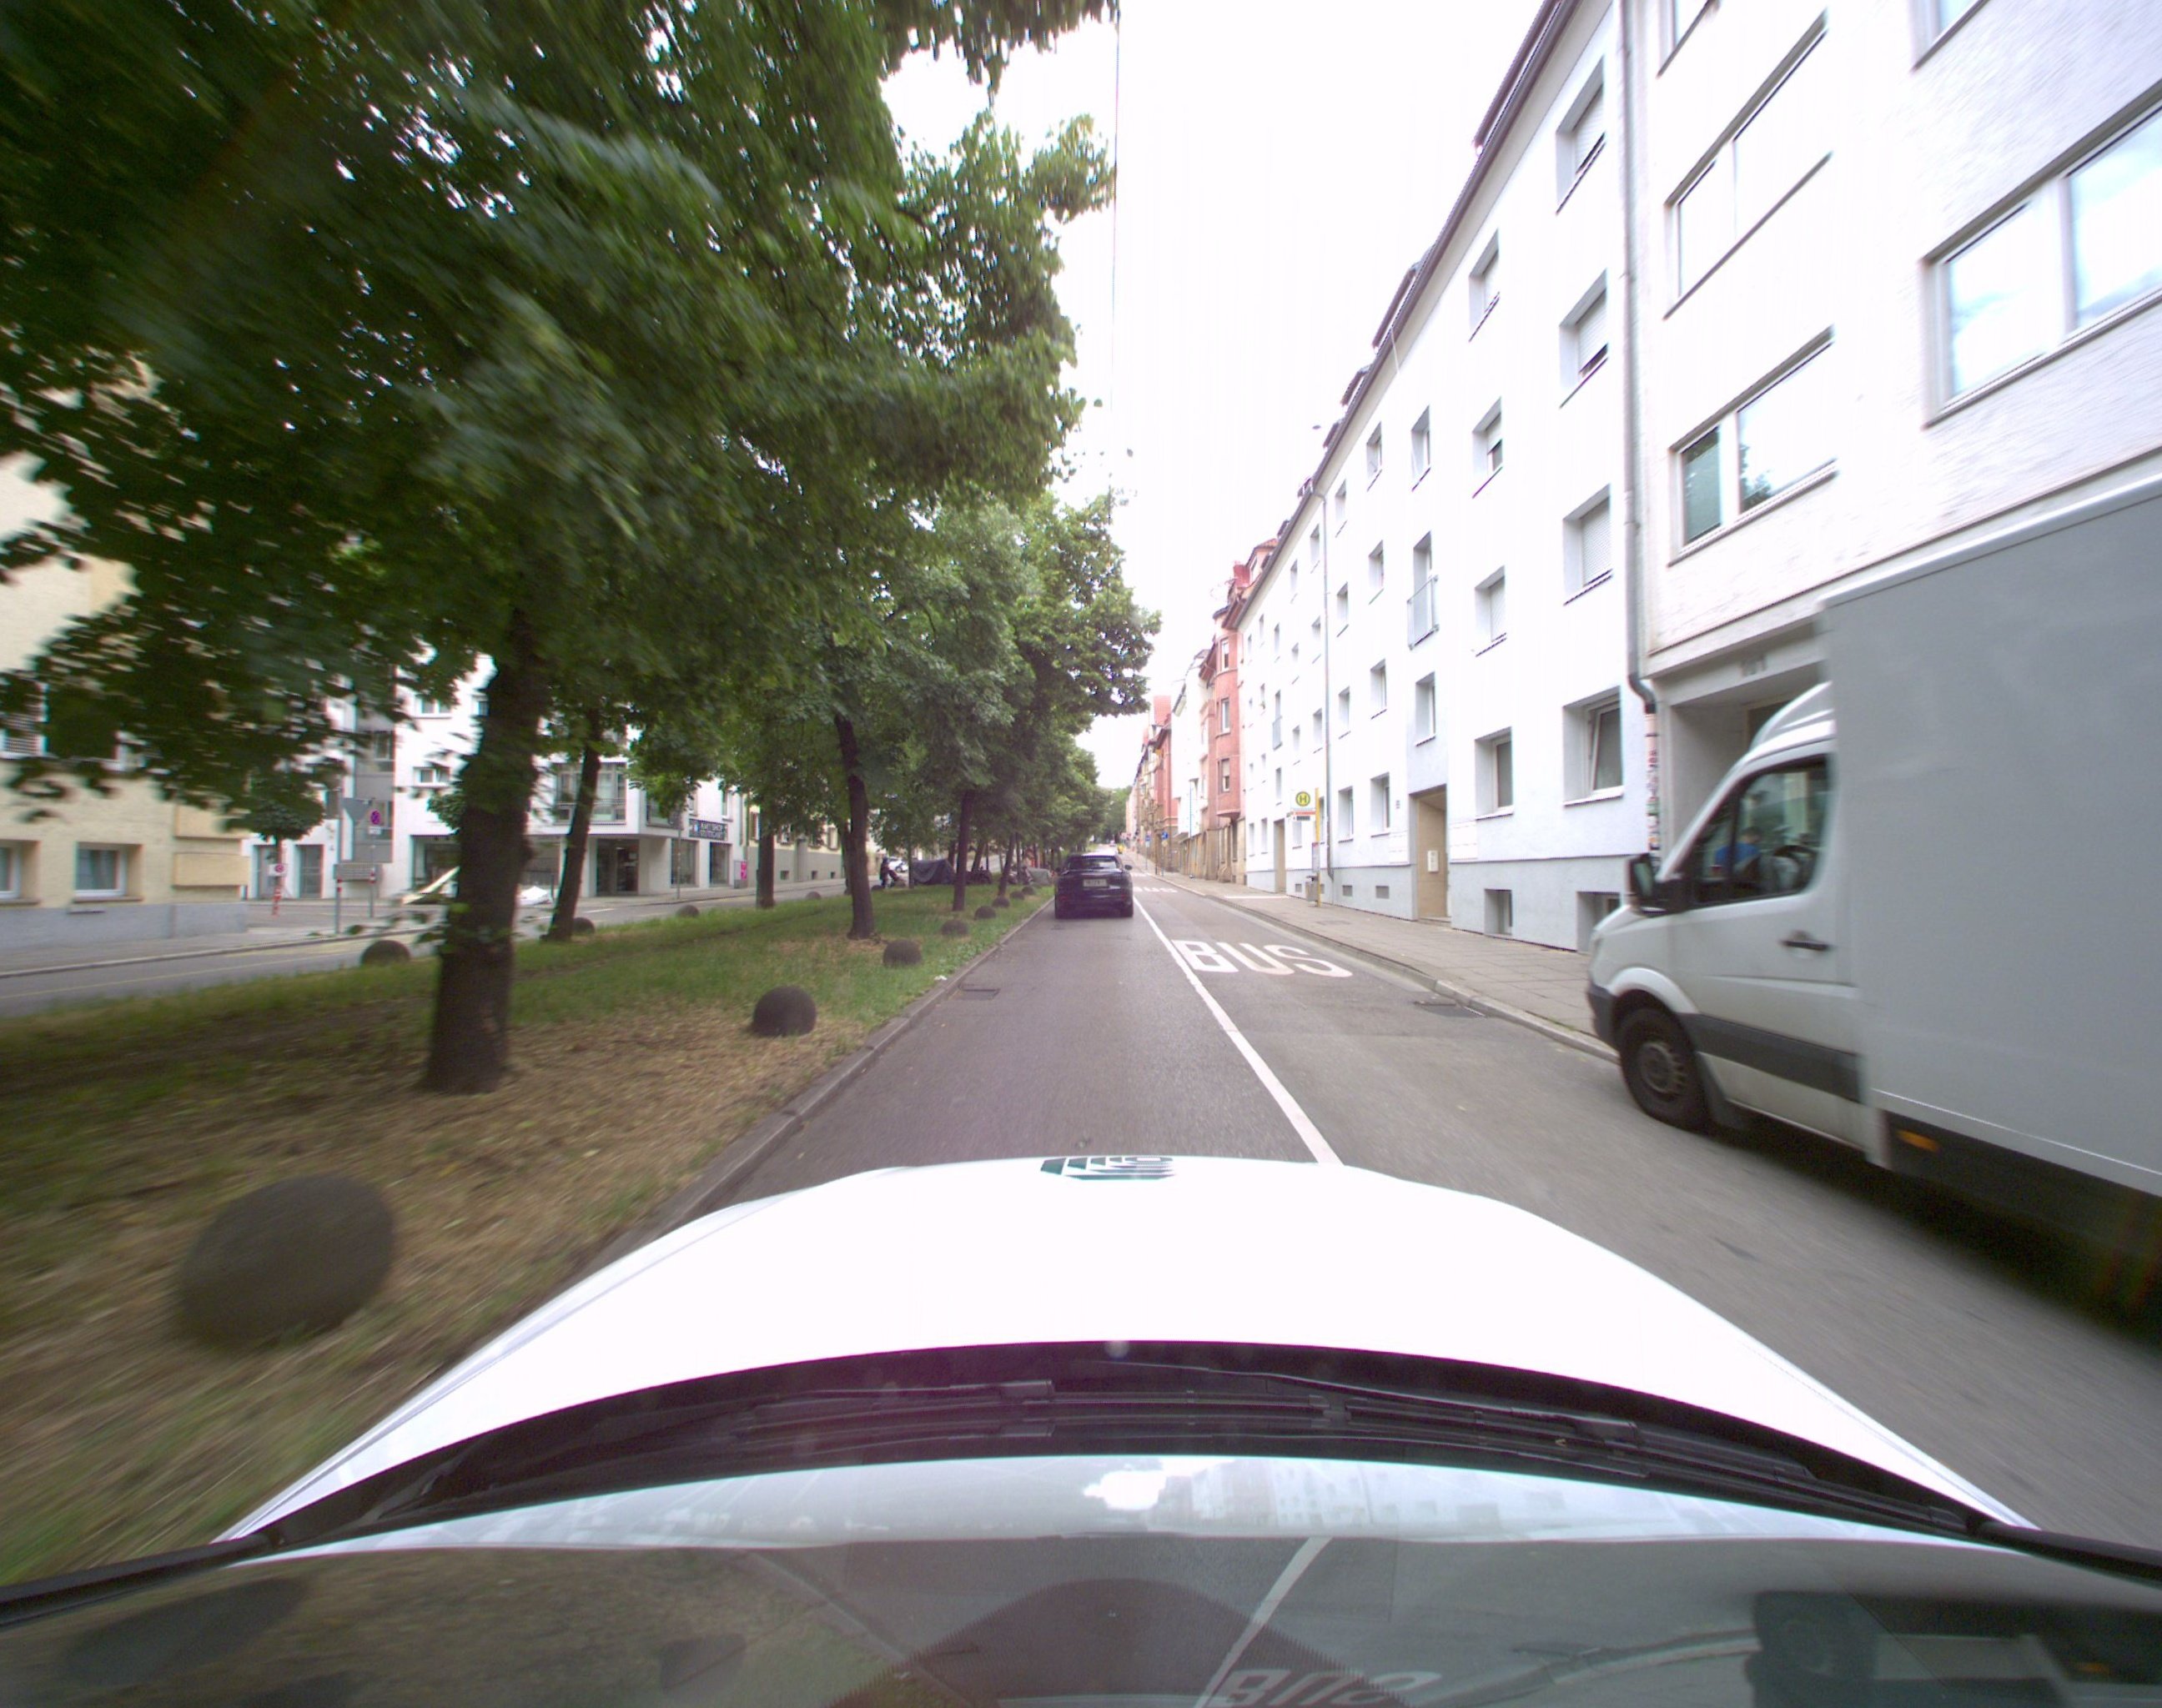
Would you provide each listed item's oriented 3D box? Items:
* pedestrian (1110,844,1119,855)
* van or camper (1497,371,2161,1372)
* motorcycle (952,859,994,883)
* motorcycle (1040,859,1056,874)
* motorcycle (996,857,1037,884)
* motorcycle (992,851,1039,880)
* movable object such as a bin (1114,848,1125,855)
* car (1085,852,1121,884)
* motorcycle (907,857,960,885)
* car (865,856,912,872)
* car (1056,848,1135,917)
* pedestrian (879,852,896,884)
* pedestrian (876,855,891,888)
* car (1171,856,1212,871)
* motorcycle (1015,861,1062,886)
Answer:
[{"bbox_3d":[6.131,-0.853,148.299,1.311,2.014,1.009,0,-1,-36],"label":"pedestrian"},{"bbox_3d":[4.262,0.048,2.309,2.472,2.803,7.236,0,-1,0],"label":"van or camper"},{"bbox_3d":[-5.709,0.872,43.001,2.018,1.235,0.898,-1,0,6],"label":"motorcycle"},{"bbox_3d":[-2.719,1.000,66.960,1.058,1.148,2.449,-1,0,2],"label":"motorcycle"},{"bbox_3d":[-3.138,0.798,39.733,1.918,1.297,0.893,-1,-2,-1],"label":"motorcycle"},{"bbox_3d":[-3.255,0.568,40.656,2.184,1.438,0.875,0,0,3],"label":"motorcycle"},{"bbox_3d":[6.954,-0.484,147.080,1.246,1.274,1.826,0,0,-36],"label":"movable object such as a bin"},{"bbox_3d":[1.293,0.772,47.340,1.986,1.753,4.002,0,0,2],"label":"car"},{"bbox_3d":[-7.162,0.809,39.745,2.374,1.317,1.045,0,0,0],"label":"motorcycle"},{"bbox_3d":[-18.414,0.951,77.896,3.972,1.497,2.001,0,0,1],"label":"car"},{"bbox_3d":[0.362,0.698,21.677,1.897,1.666,4.135,0,0,0],"label":"car"},{"bbox_3d":[-9.869,0.691,41.548,0.660,1.616,0.580,0,0,3],"label":"pedestrian"},{"bbox_3d":[-9.826,0.887,40.547,0.633,1.613,0.763,1,0,-5],"label":"pedestrian"},{"bbox_3d":[10.586,0.907,77.572,1.974,1.376,4.025,-1,0,41],"label":"car"},{"bbox_3d":[-2.193,0.995,42.332,2.348,1.235,1.033,0,1,0],"label":"motorcycle"}]
